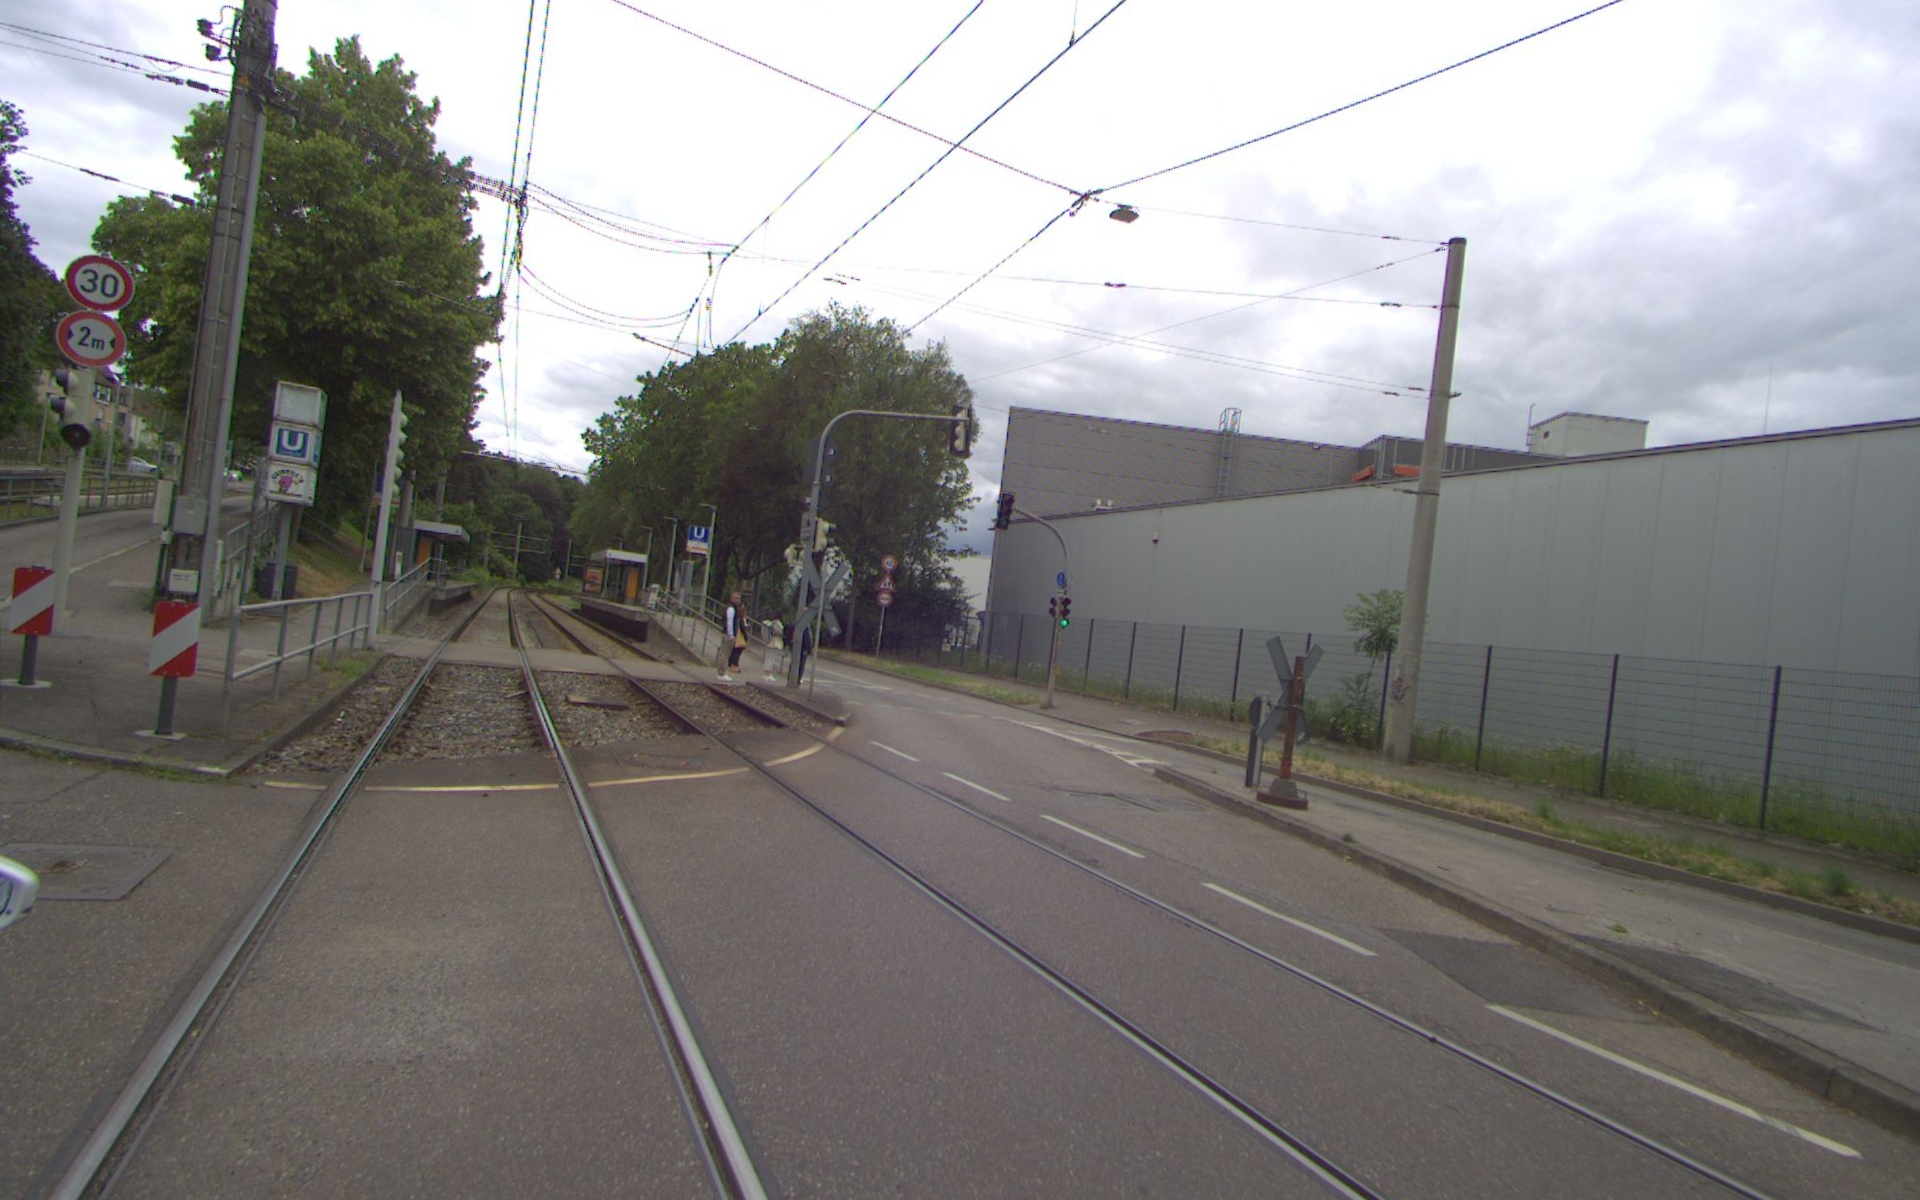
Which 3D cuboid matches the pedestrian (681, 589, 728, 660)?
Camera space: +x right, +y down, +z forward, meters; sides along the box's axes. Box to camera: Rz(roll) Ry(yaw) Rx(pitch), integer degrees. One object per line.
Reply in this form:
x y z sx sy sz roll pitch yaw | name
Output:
-6.622 0.634 26.067 0.732 1.683 0.675 11 -2 -35 | pedestrian

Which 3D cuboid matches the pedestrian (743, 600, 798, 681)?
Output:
-4.268 0.928 22.699 0.724 1.683 0.683 9 -2 17 | pedestrian

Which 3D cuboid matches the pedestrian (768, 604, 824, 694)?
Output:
-3.342 0.989 20.429 0.729 1.683 0.678 10 -2 -23 | pedestrian

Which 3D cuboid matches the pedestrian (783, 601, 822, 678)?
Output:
-3.820 0.949 24.374 0.544 1.777 0.734 10 -2 -20 | pedestrian

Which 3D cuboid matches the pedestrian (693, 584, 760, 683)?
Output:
-4.680 0.685 20.216 0.659 1.840 0.804 8 -2 33 | pedestrian

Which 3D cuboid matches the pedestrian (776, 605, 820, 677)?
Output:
-4.051 1.015 25.112 0.673 1.683 0.734 10 -2 -21 | pedestrian

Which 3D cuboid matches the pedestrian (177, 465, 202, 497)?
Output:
-38.364 -5.909 50.090 0.738 1.426 0.740 11 1 -33 | pedestrian
